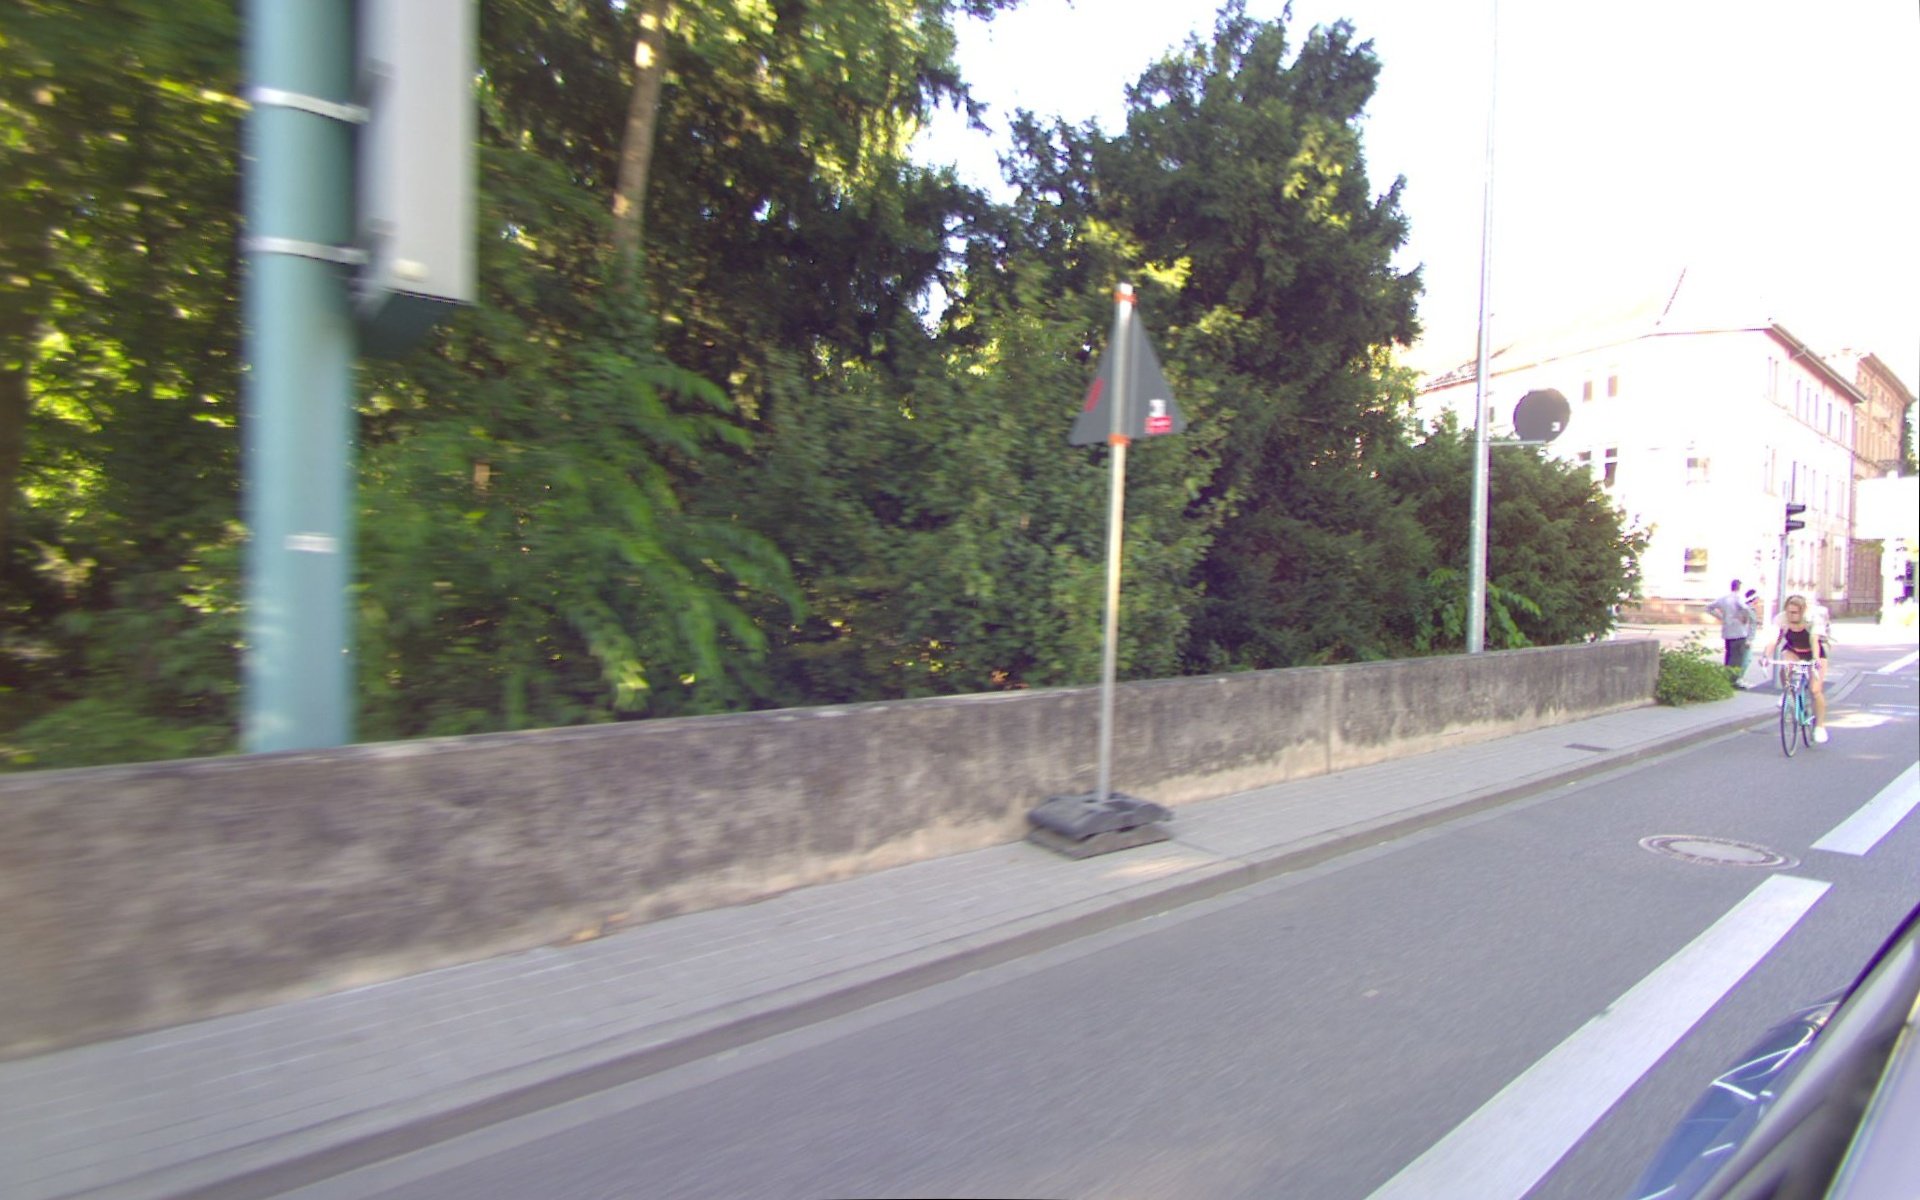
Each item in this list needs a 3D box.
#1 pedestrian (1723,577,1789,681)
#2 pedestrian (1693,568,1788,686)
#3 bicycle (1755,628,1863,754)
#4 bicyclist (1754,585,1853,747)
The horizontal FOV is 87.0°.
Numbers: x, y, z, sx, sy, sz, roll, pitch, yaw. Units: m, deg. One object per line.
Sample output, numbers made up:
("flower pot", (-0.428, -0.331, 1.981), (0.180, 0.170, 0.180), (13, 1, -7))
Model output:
("pedestrian", (13.323, 0.459, 16.933), (0.765, 1.656, 0.759), (4, 3, 40))
("pedestrian", (12.701, 0.415, 16.507), (0.847, 1.824, 0.903), (3, 2, 15))
("bicycle", (8.494, 0.861, 10.102), (1.810, 1.111, 0.521), (0, -1, -41))
("bicyclist", (8.391, 0.617, 10.060), (1.062, 1.509, 0.553), (0, 1, -41))
